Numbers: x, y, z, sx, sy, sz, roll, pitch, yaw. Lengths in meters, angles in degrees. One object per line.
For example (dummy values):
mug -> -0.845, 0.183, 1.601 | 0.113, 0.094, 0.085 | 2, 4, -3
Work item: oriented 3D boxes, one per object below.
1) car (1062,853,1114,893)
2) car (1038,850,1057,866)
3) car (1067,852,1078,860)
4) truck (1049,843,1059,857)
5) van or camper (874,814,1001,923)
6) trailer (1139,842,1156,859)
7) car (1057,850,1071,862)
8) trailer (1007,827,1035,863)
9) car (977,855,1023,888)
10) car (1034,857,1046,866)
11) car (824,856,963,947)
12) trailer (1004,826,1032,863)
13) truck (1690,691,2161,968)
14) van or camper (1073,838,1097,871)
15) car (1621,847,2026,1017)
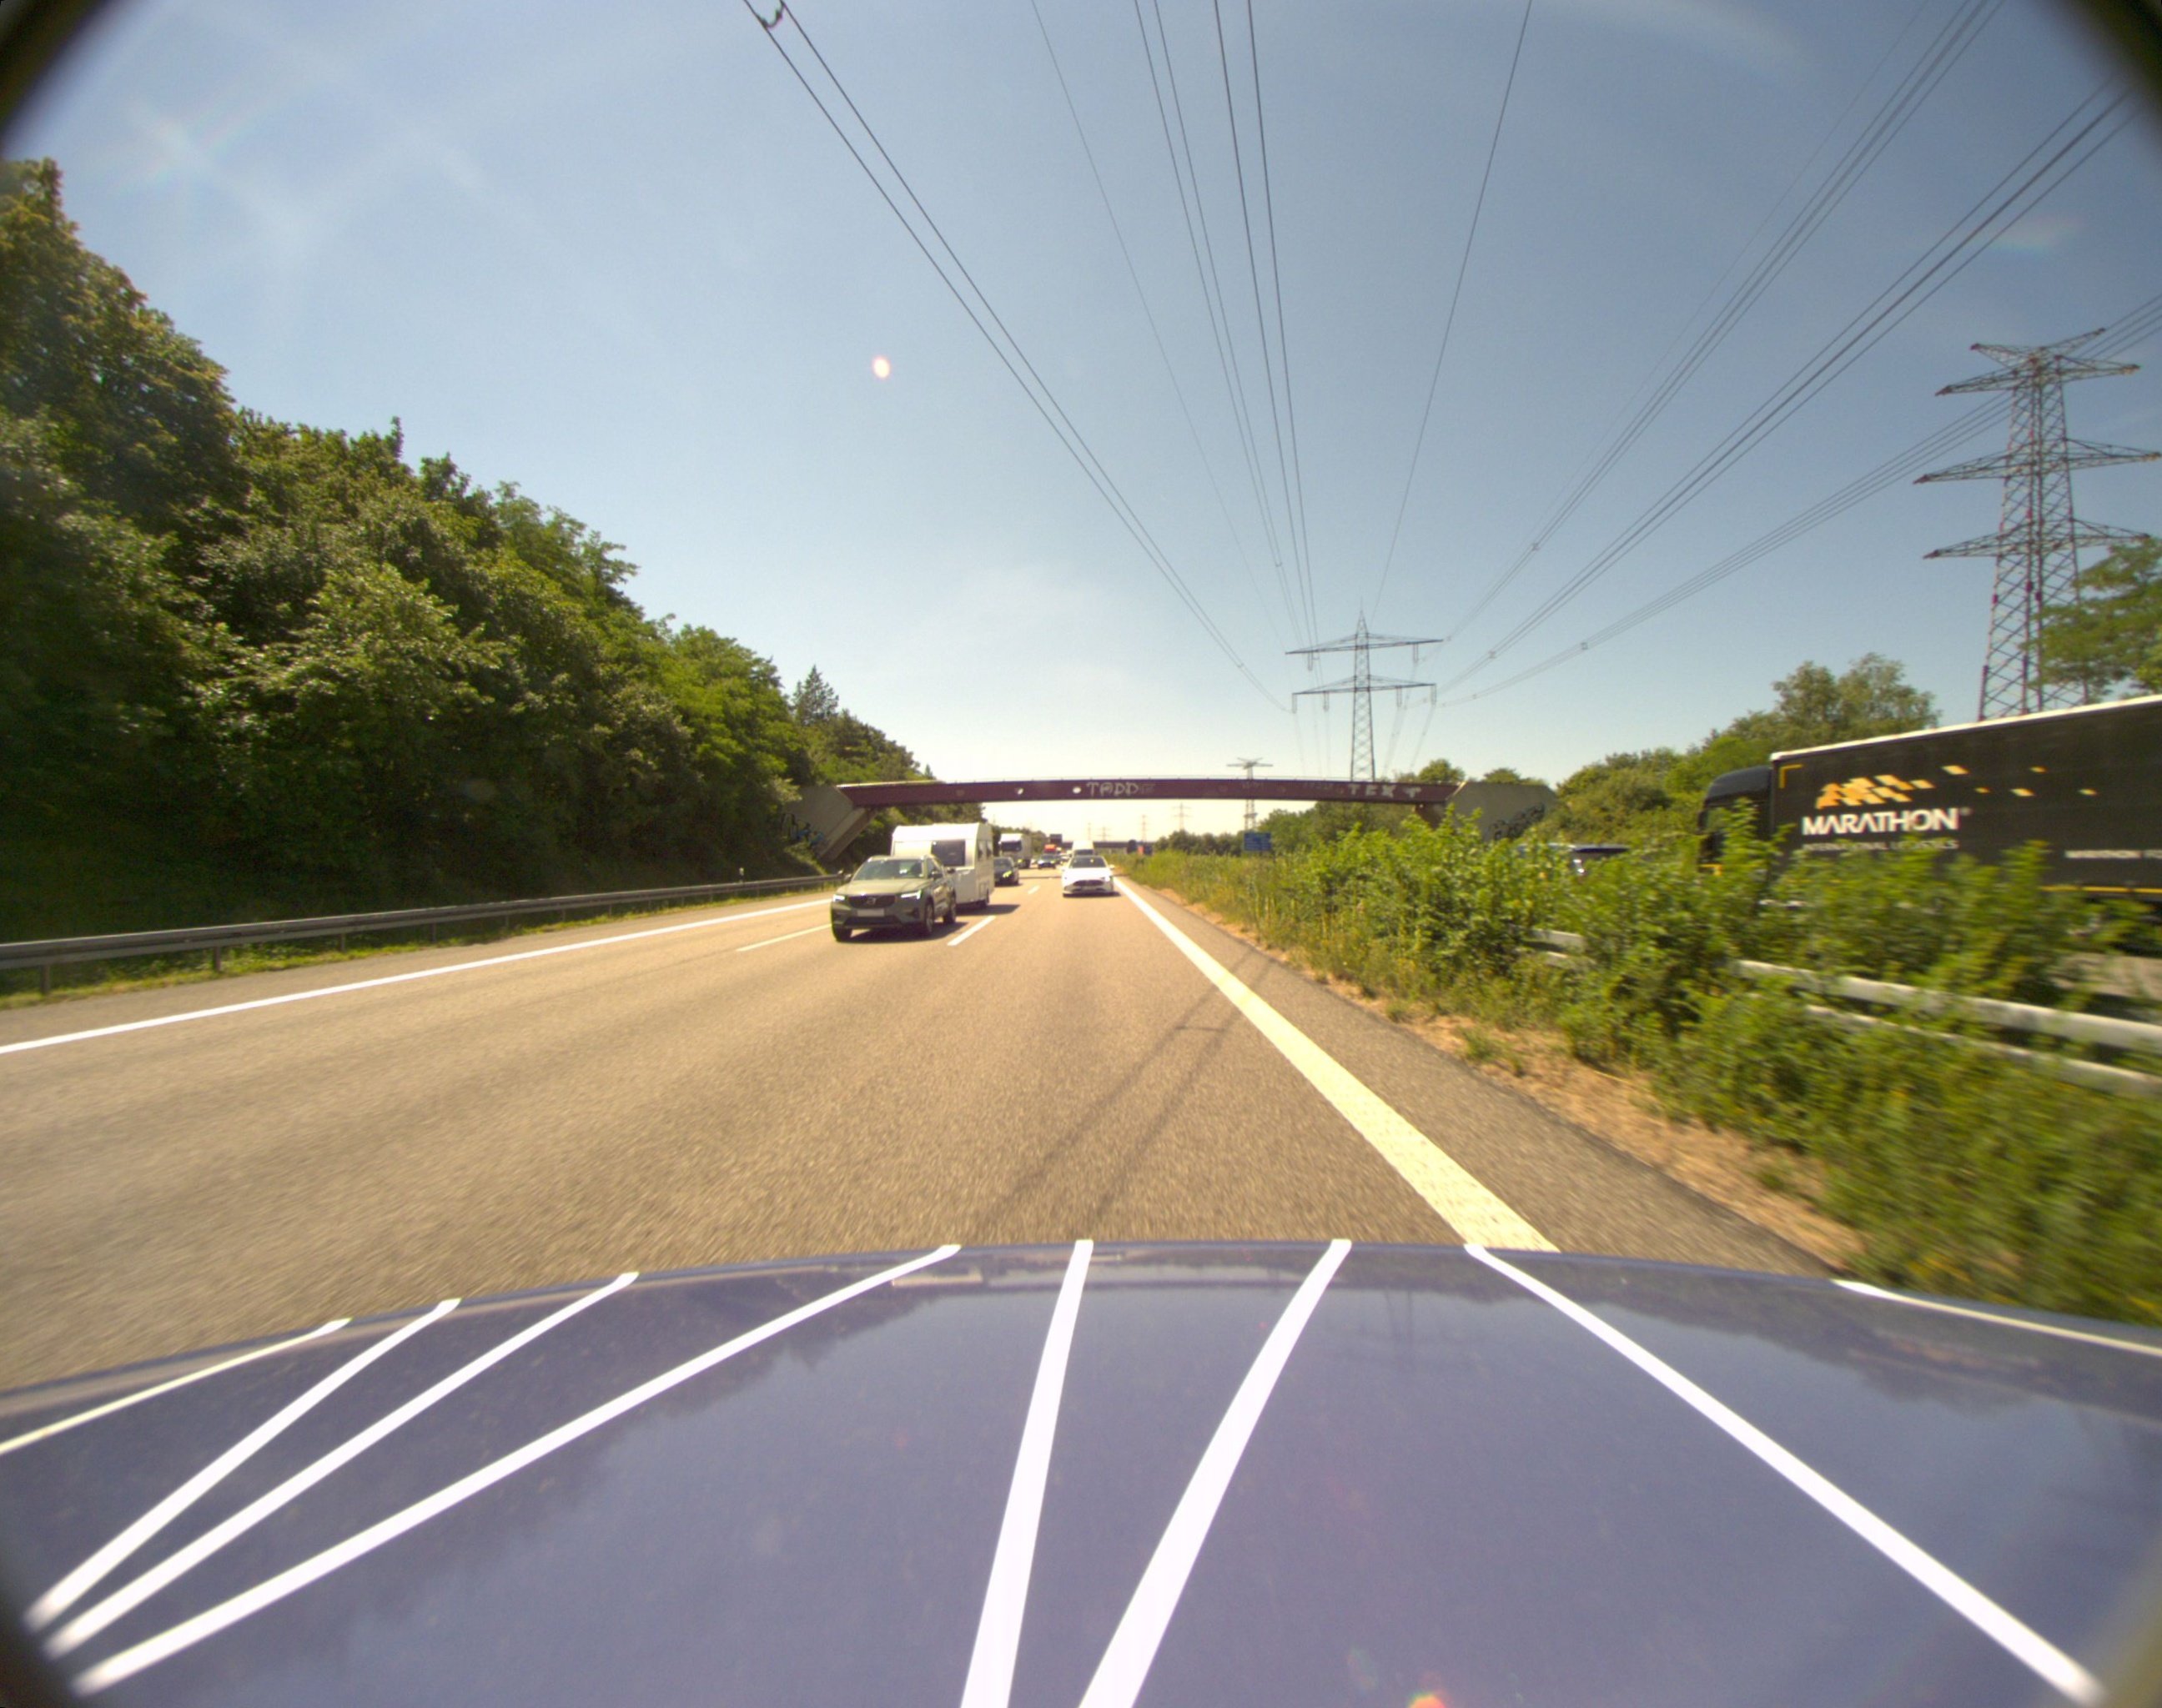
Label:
car -> 0.211, 0.753, 31.761 | 1.984, 1.524, 4.558 | -1, 0, -1
car -> -3.622, 0.419, 83.043 | 1.984, 1.670, 4.558 | -1, 0, -1
car -> -1.717, 0.383, 149.473 | 1.984, 1.524, 4.137 | -1, 0, -1
truck -> -6.840, -1.024, 193.082 | 2.582, 3.204, 5.712 | -3, 1, -2
van or camper -> -3.859, 0.365, 21.836 | 2.445, 2.659, 6.349 | -1, 0, -1
trailer -> 18.570, -0.946, 213.800 | 3.352, 4.381, 14.166 | 7, 0, 1
car -> -2.409, 0.267, 107.578 | 1.984, 1.671, 4.557 | -2, 0, -1
trailer -> -7.389, -1.052, 95.029 | 2.736, 4.078, 13.187 | -1, 0, -1
car -> -4.180, 0.858, 39.846 | 1.846, 1.496, 4.738 | -3, 0, 0
car -> -6.835, 1.185, 127.976 | 1.840, 1.403, 4.558 | -2, 0, -1
car -> -3.815, 0.882, 16.348 | 1.884, 1.603, 4.701 | -2, 0, -1
trailer -> -7.233, -1.016, 88.028 | 2.720, 4.078, 6.788 | -1, 0, -1
truck -> 17.417, -0.397, 14.947 | 2.765, 4.098, 10.215 | 0, 1, 1
van or camper -> 0.371, 0.045, 67.875 | 1.998, 2.740, 5.410 | -2, 0, 1
car -> 8.874, 0.780, 9.576 | 1.597, 1.740, 3.598 | 0, 1, 1
